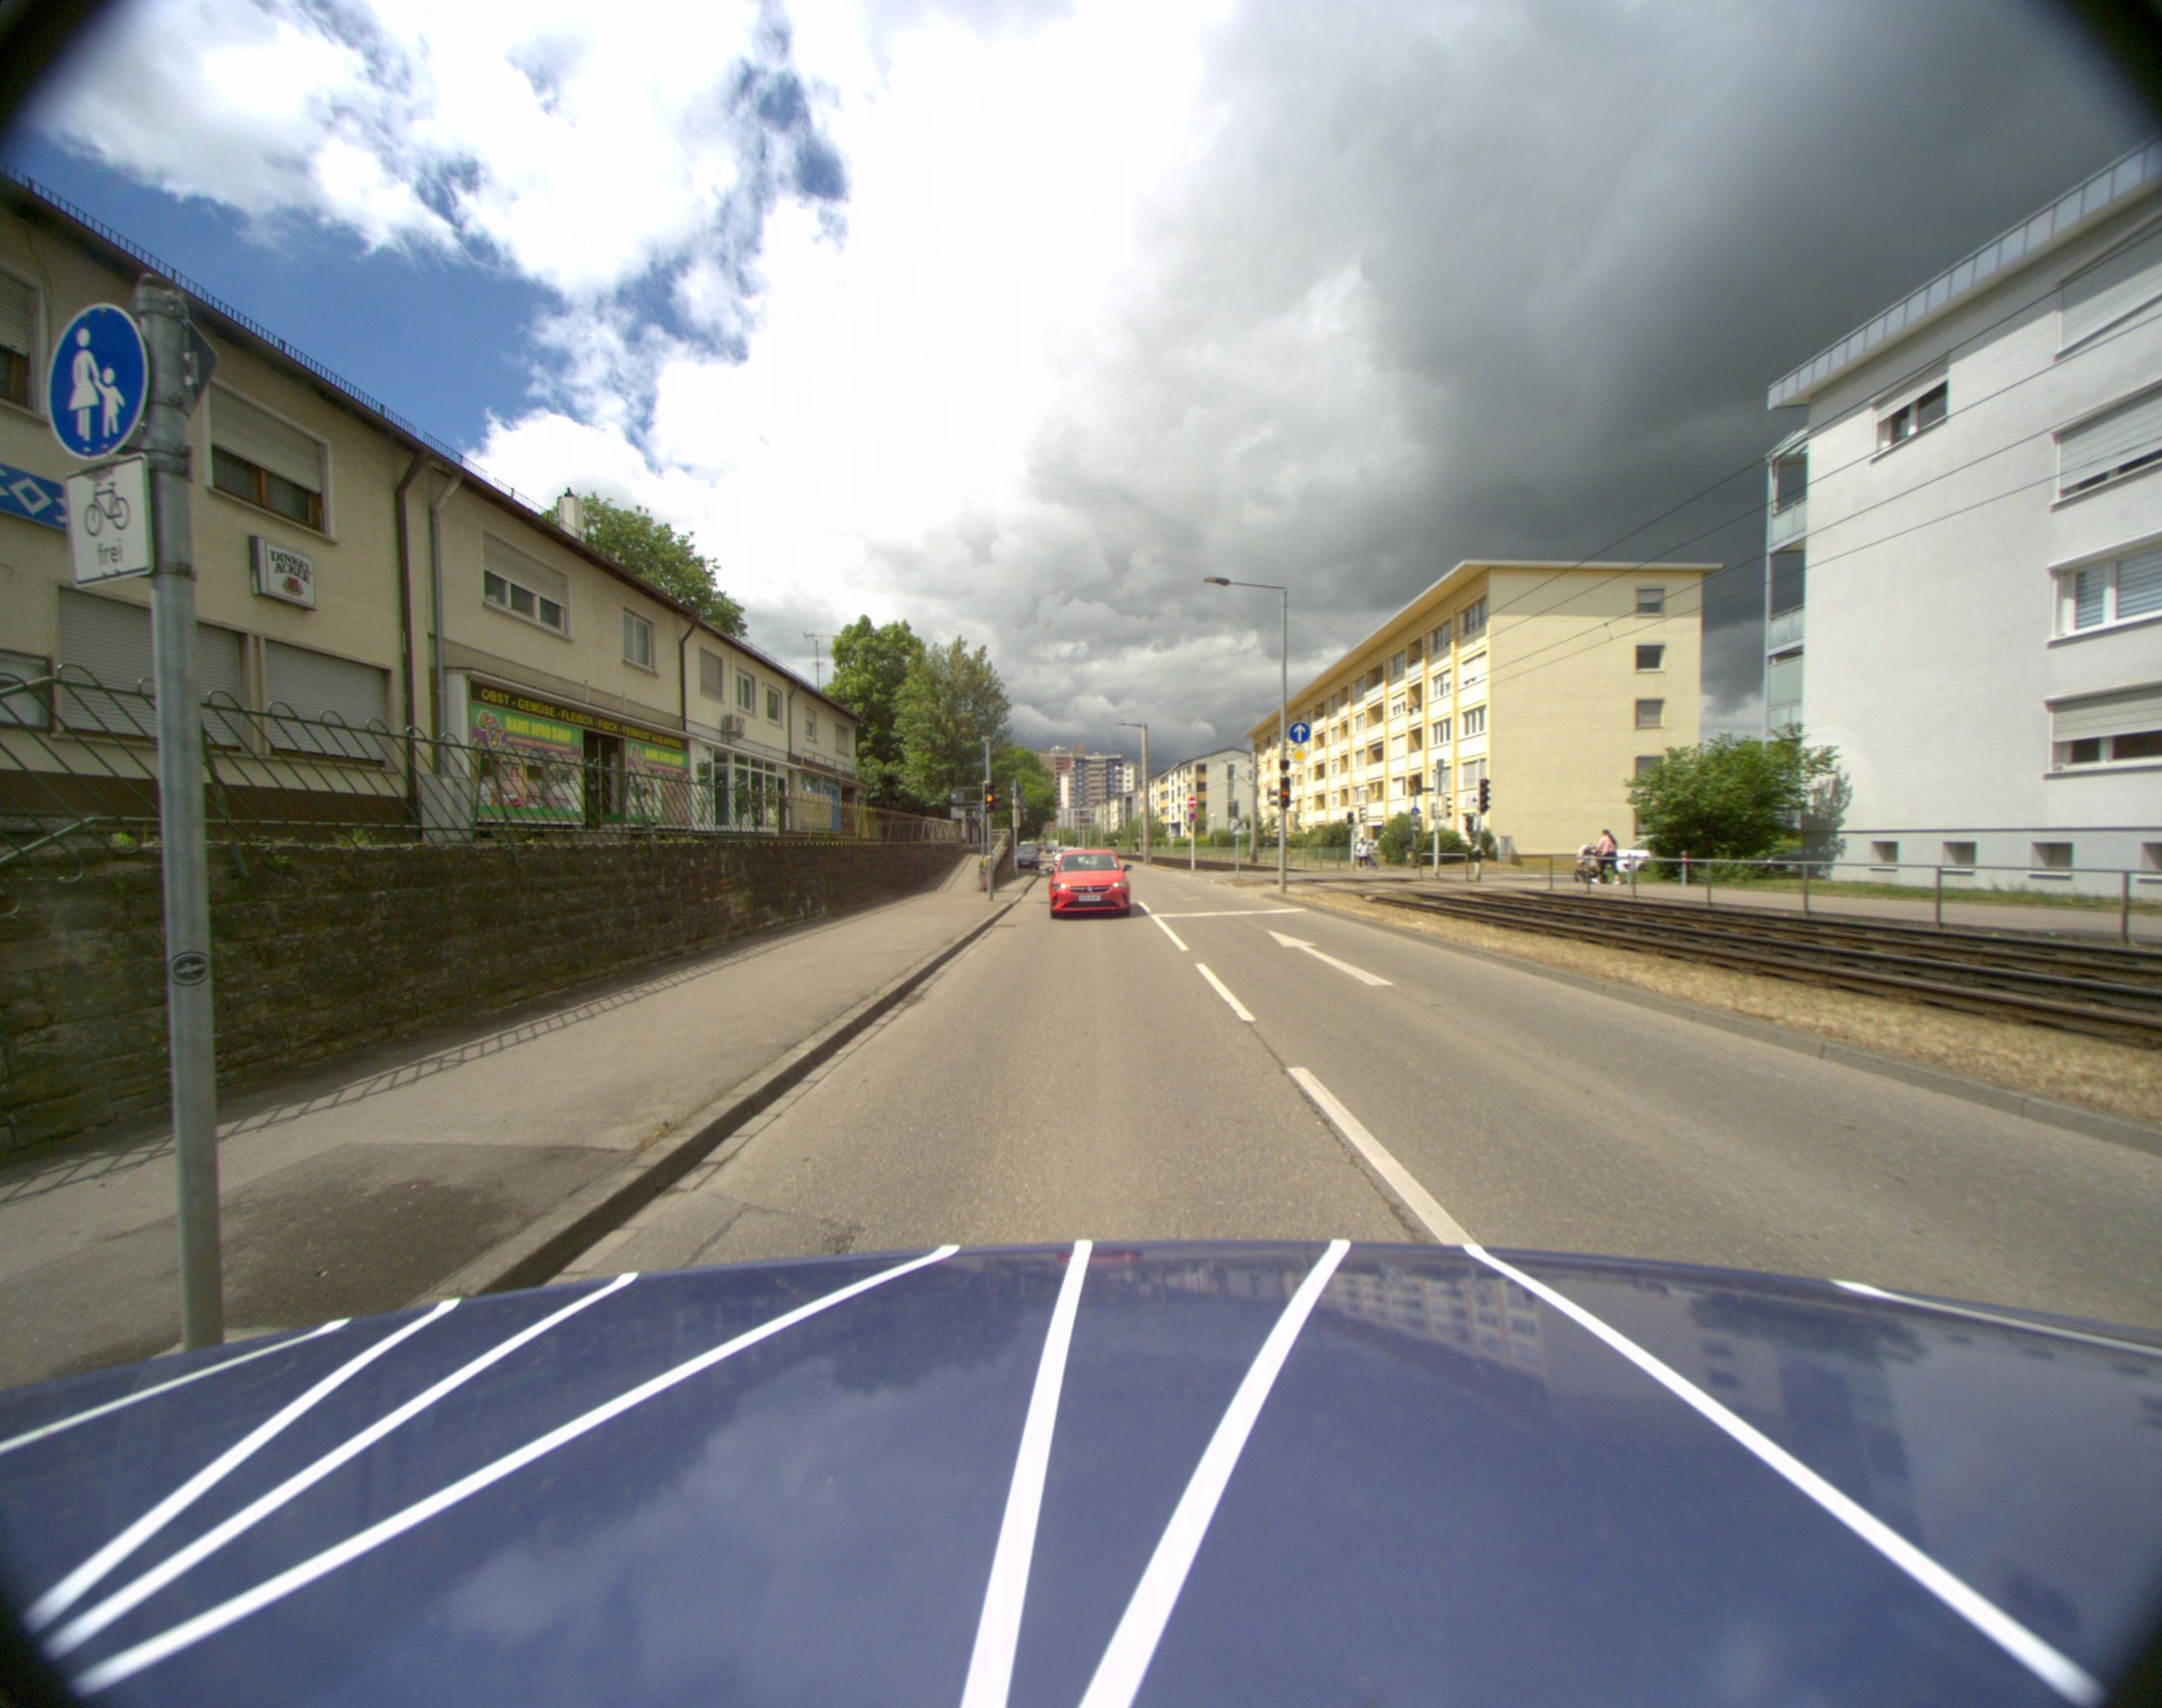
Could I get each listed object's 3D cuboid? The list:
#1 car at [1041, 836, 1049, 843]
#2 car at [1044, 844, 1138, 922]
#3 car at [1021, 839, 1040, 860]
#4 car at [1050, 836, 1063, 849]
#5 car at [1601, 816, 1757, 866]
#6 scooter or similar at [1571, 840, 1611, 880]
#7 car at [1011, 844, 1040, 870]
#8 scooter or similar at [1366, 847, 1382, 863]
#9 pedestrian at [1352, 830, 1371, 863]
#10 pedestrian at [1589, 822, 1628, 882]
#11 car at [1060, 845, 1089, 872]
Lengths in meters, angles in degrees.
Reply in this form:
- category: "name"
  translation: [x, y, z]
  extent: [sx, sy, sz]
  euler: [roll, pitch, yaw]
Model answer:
- category: "car"
  translation: [-9.670, -3.918, 204.634]
  extent: [2.237, 2.051, 4.359]
  euler: [0, 1, -4]
- category: "car"
  translation: [0.110, 0.560, 17.343]
  extent: [1.784, 1.434, 4.129]
  euler: [-3, 1, -4]
- category: "car"
  translation: [-5.206, -0.502, 78.392]
  extent: [1.854, 1.997, 4.967]
  euler: [0, 1, -4]
- category: "car"
  translation: [-4.535, -2.138, 139.836]
  extent: [2.237, 2.460, 5.084]
  euler: [0, 1, -4]
- category: "car"
  translation: [22.310, -0.489, 28.480]
  extent: [4.286, 1.719, 1.810]
  euler: [-1, 2, 6]
- category: "scooter or similar"
  translation: [15.214, 0.164, 22.697]
  extent: [0.609, 1.157, 0.891]
  euler: [-1, 2, 0]
- category: "car"
  translation: [-3.473, 0.157, 47.929]
  extent: [1.760, 1.571, 4.019]
  euler: [0, 1, -4]
- category: "scooter or similar"
  translation: [14.451, 0.052, 37.484]
  extent: [0.534, 0.769, 0.665]
  euler: [0, 2, -1]
- category: "pedestrian"
  translation: [13.965, -0.370, 37.810]
  extent: [0.605, 1.598, 0.773]
  euler: [0, 2, -1]
- category: "pedestrian"
  translation: [15.188, -0.074, 21.892]
  extent: [0.647, 1.683, 0.679]
  euler: [-2, 2, 0]
- category: "car"
  translation: [-0.429, 0.239, 44.358]
  extent: [1.499, 1.477, 3.518]
  euler: [-1, 1, -4]
